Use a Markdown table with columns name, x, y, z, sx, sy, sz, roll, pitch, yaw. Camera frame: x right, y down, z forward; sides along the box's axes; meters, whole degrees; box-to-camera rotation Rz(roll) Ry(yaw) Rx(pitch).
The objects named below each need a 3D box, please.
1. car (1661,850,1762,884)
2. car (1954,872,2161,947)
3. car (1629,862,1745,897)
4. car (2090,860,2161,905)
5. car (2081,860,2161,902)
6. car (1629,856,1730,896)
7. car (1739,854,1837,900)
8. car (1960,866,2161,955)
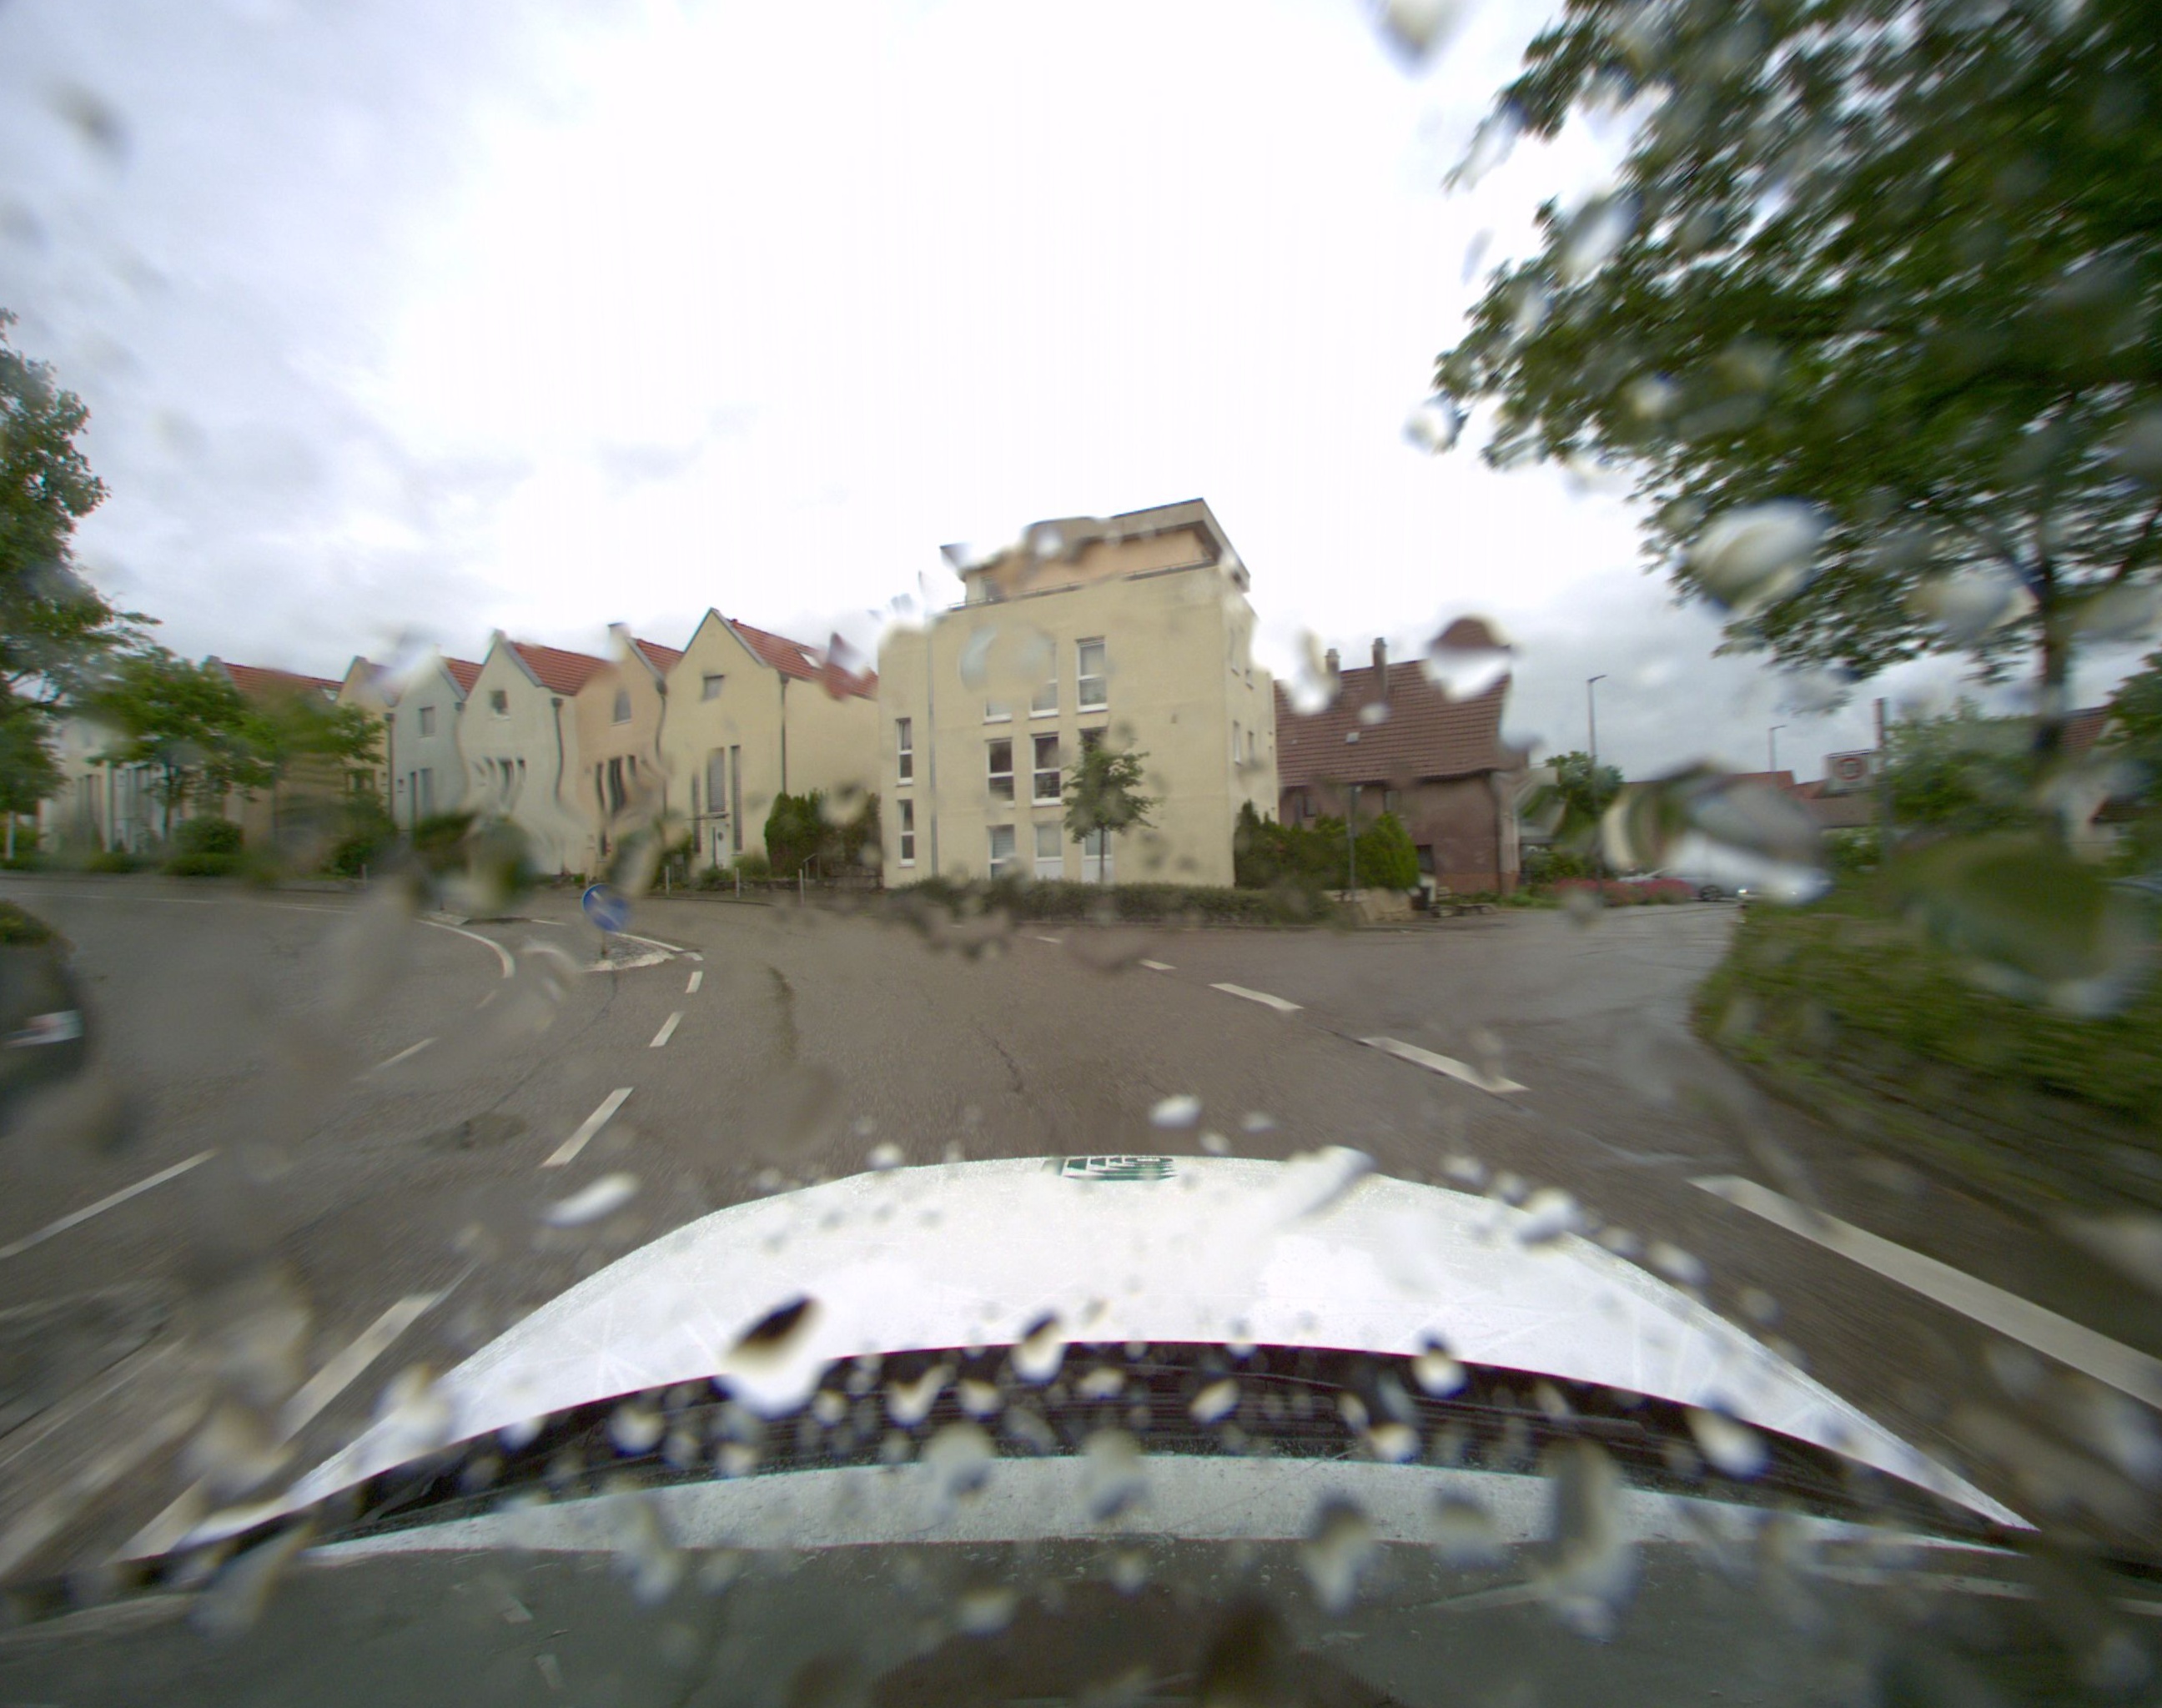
| name | x | y | z | sx | sy | sz | roll | pitch | yaw |
| --- | --- | --- | --- | --- | --- | --- | --- | --- | --- |
| car | 32.660 | 0.641 | 42.333 | 3.948 | 1.697 | 2.013 | 0 | 0 | 32 |
| car | 20.770 | 1.083 | 16.584 | 1.631 | 1.390 | 3.954 | 0 | -1 | -39 |
| car | 26.648 | 1.085 | 35.979 | 3.949 | 1.456 | 1.958 | 0 | 0 | 31 |
| car | 39.112 | 1.010 | 28.893 | 2.007 | 1.552 | 3.960 | 0 | 0 | -31 |
| car | 41.140 | 1.009 | 30.506 | 2.007 | 1.552 | 4.439 | 0 | 0 | -31 |
| car | 29.597 | 1.034 | 40.417 | 3.948 | 1.882 | 1.851 | 0 | 0 | 34 |
| car | 25.647 | 0.802 | 29.490 | 4.167 | 1.536 | 1.738 | 0 | -1 | -35 |
| car | 17.645 | 0.900 | 13.587 | 1.621 | 1.390 | 3.714 | 0 | -1 | -16 |
